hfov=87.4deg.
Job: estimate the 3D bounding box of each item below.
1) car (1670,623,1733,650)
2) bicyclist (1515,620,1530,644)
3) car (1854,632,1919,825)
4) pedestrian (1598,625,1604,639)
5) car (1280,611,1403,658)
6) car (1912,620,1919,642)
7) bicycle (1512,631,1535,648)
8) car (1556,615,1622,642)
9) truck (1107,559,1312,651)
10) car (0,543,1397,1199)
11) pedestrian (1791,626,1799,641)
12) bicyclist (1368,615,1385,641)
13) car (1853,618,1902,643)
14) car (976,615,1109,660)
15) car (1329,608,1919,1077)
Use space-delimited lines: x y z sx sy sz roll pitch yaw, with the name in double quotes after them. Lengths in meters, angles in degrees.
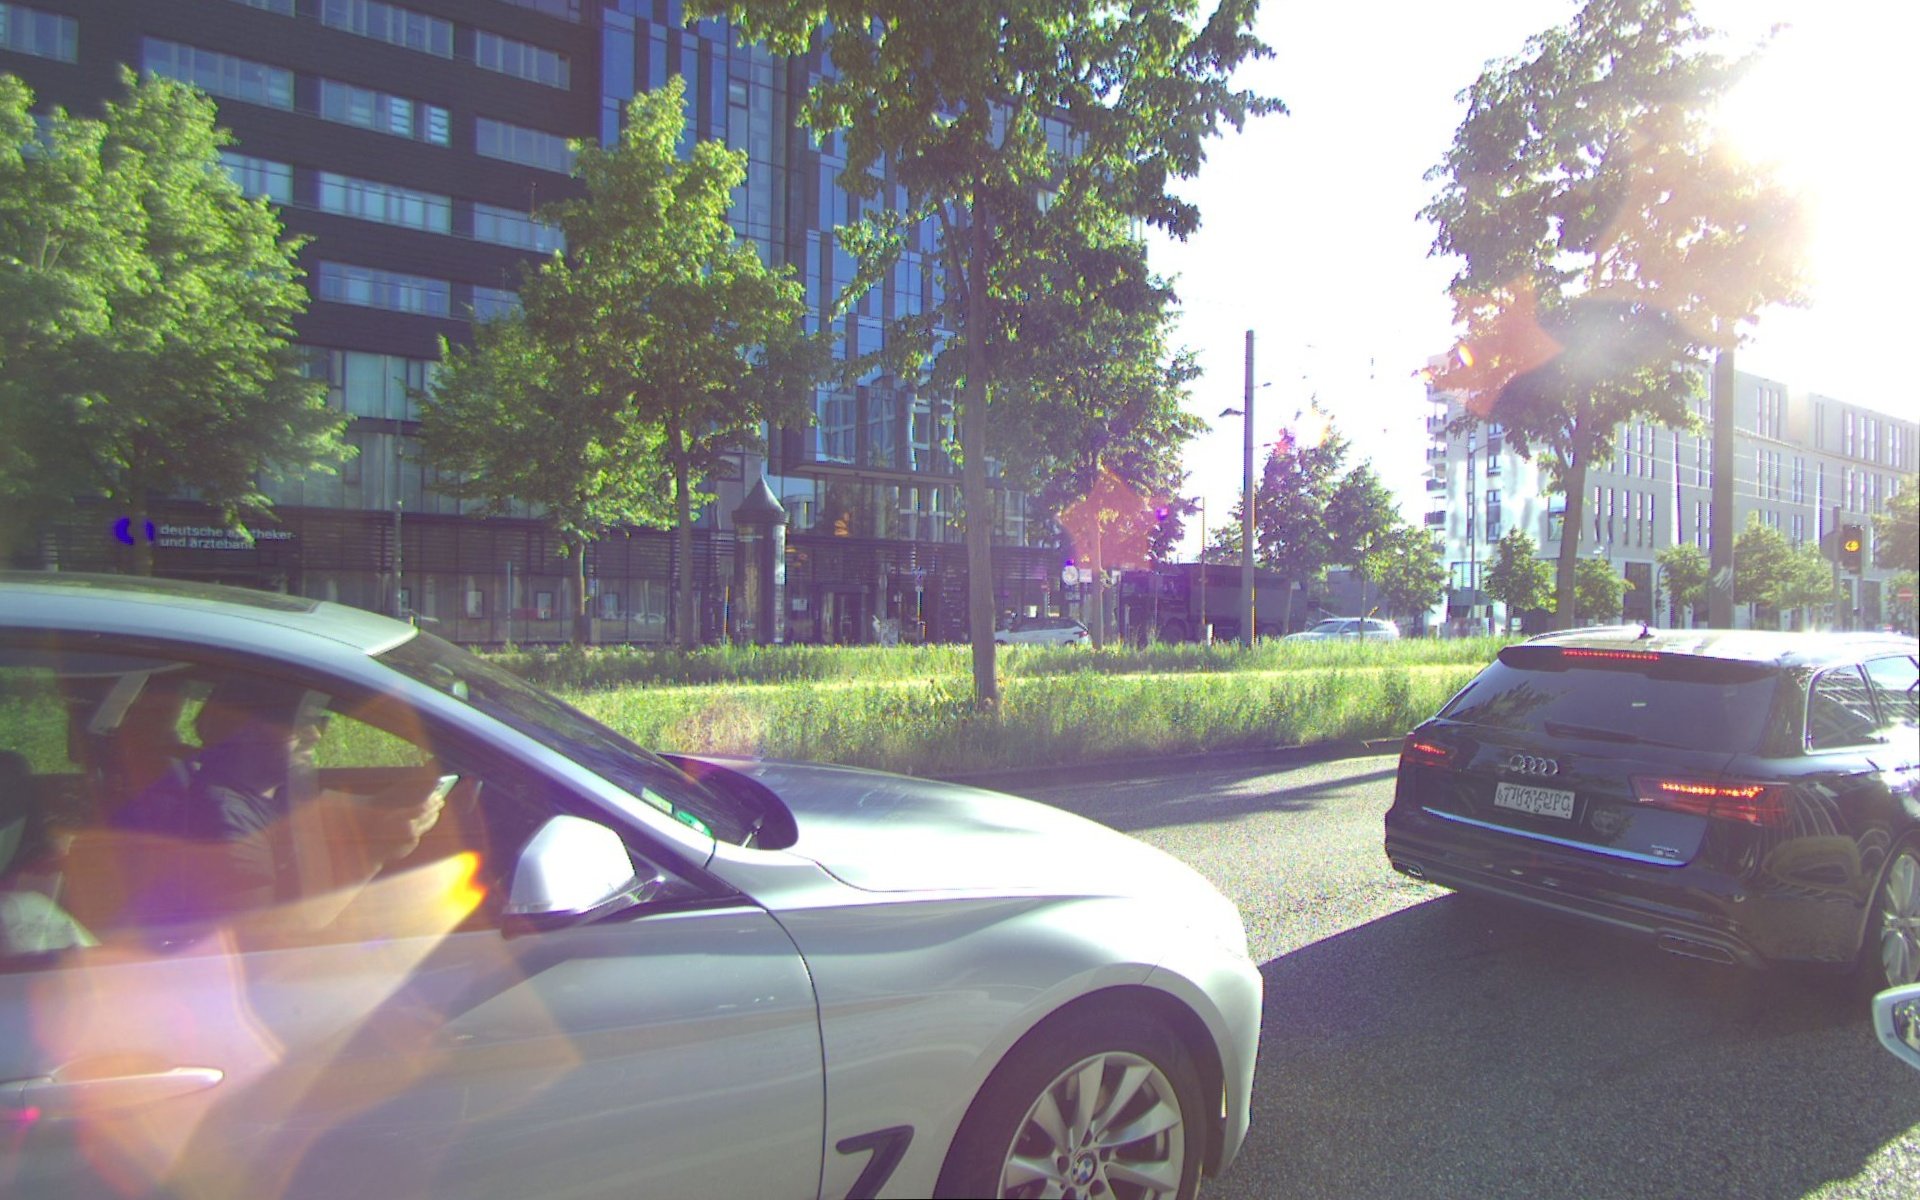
51.463 2.515 69.666 4.319 1.838 1.984 1 -1 -30 "car"
35.100 1.999 62.688 0.811 1.443 0.475 1 -1 -30 "bicyclist"
9.339 1.013 8.198 4.288 1.445 1.833 1 -1 -30 "car"
50.590 2.561 79.268 0.257 1.100 0.252 1 0 -30 "pedestrian"
12.983 1.166 34.118 4.161 1.512 1.509 1 -1 -27 "car"
90.291 2.881 93.124 3.953 2.040 1.984 1 -1 -30 "car"
35.192 2.461 62.743 1.735 1.049 0.475 1 -1 -31 "bicycle"
37.523 1.688 59.892 3.953 1.540 1.756 1 -1 -30 "car"
11.687 0.304 46.488 10.094 3.904 2.877 1 -1 -31 "truck"
-1.341 0.697 2.010 4.509 1.504 1.810 1 -1 -31 "car"
80.031 3.187 96.305 0.454 1.457 0.389 1 0 15 "pedestrian"
25.105 1.703 60.580 0.706 1.549 0.674 1 0 -30 "bicyclist"
78.091 2.595 85.510 3.953 2.040 1.984 1 -1 -30 "car"
2.961 1.305 35.806 4.476 1.467 1.806 1 -1 13 "car"
4.351 0.835 5.333 4.911 1.504 1.864 1 -1 -32 "car"
